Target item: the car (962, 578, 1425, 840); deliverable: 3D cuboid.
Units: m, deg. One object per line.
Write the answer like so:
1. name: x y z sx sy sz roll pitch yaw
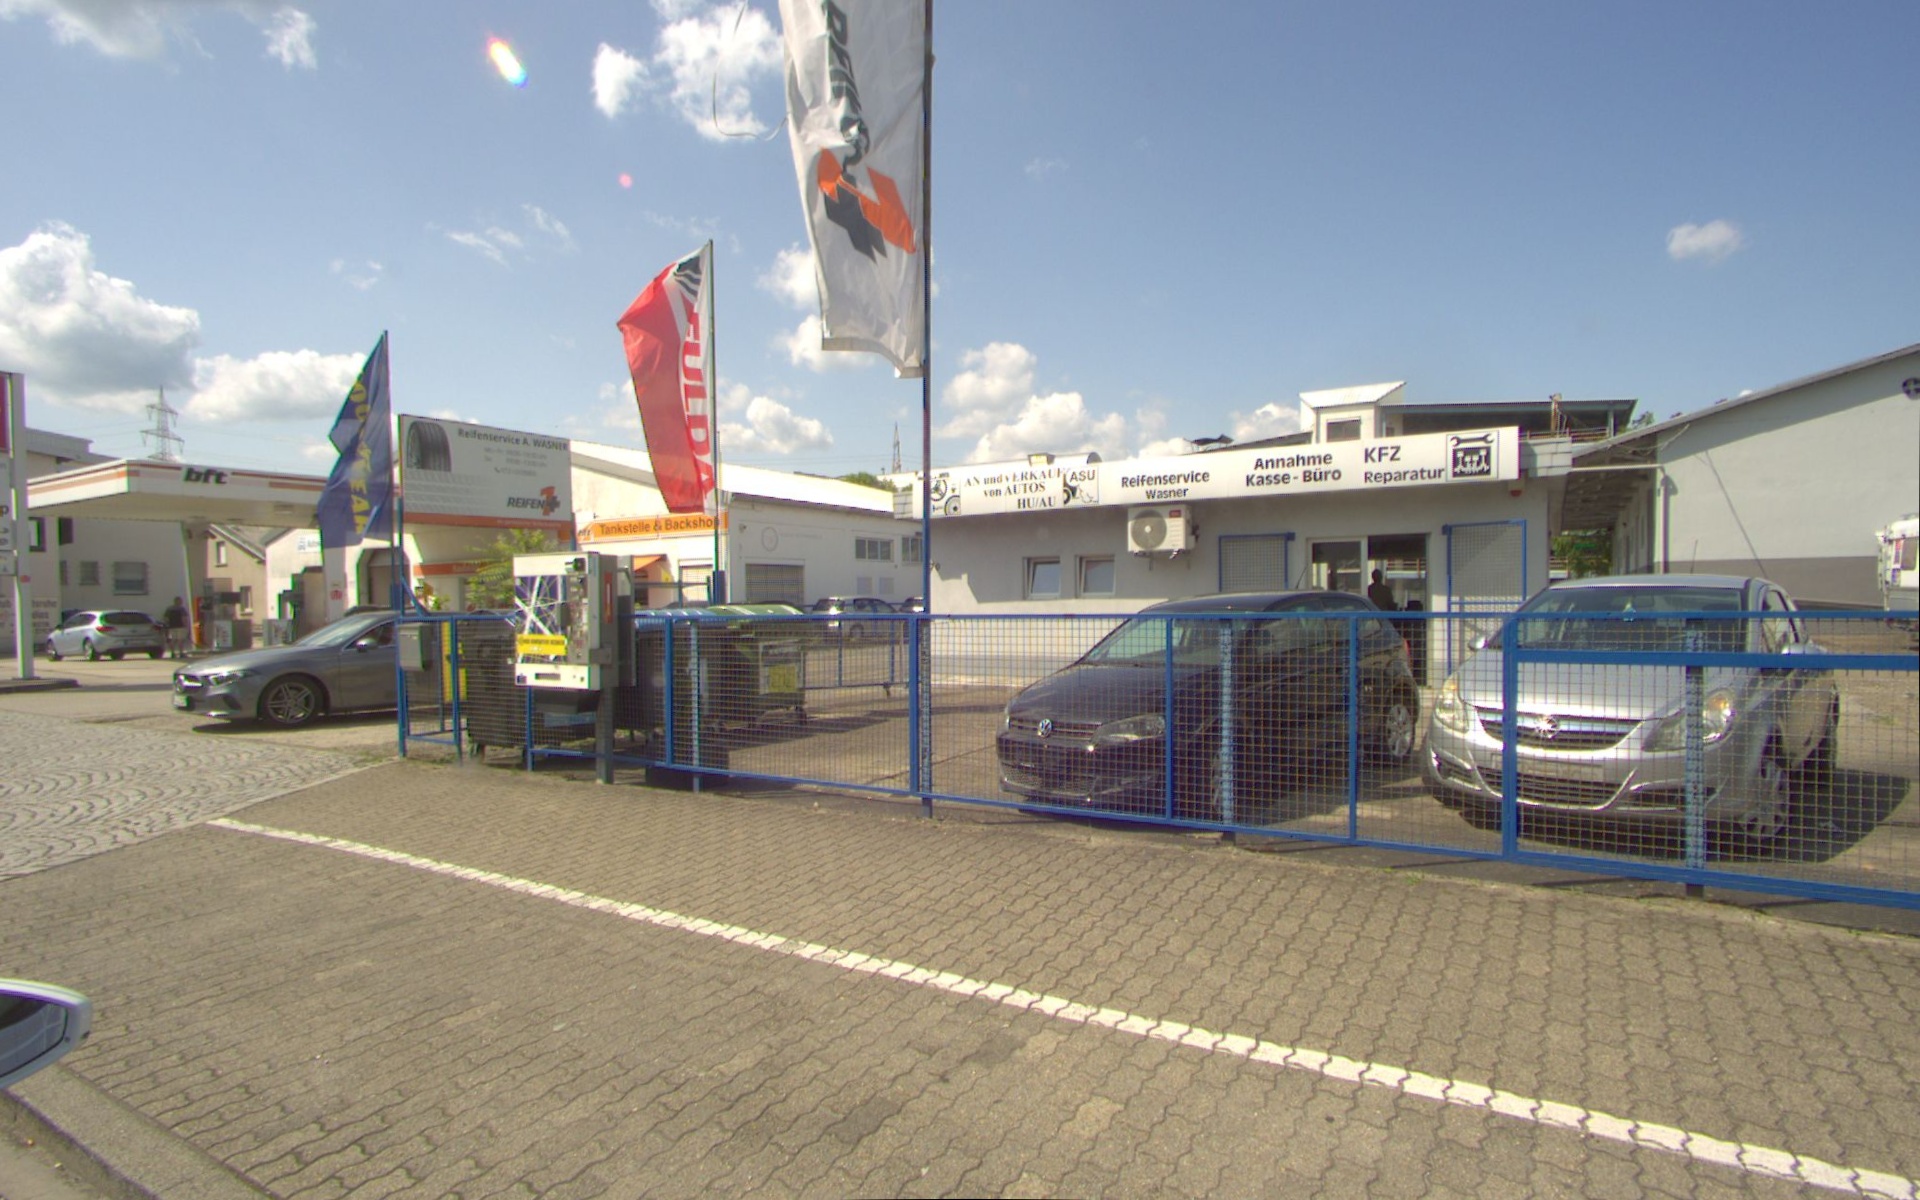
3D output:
1. car: 1.897 0.602 7.478 3.655 1.472 1.625 -1 0 -43

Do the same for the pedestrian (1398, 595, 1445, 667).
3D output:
1. pedestrian: 8.039 0.533 17.440 0.654 1.225 0.563 0 1 34

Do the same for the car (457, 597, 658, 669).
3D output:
1. car: -9.172 0.687 23.164 1.564 1.482 4.187 0 0 33

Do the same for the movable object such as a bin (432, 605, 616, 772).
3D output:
1. movable object such as a bin: -4.166 0.786 9.608 1.225 1.455 1.106 0 1 31

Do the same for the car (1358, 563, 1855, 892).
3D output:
1. car: 4.265 0.562 6.381 3.729 1.472 1.757 -1 0 -42

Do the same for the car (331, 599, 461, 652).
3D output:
1. car: -17.317 0.745 30.724 3.777 1.523 1.803 0 0 31

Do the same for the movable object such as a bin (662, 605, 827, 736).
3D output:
1. movable object such as a bin: -2.540 0.783 11.903 1.318 1.414 1.400 0 1 31

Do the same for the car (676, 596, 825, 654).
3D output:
1. car: -5.725 0.640 27.820 1.564 1.482 4.187 0 0 33

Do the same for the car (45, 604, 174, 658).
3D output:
1. car: -25.744 0.898 30.307 3.776 1.523 1.803 0 0 30

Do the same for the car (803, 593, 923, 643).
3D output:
1. car: -3.022 0.526 32.051 1.564 1.482 4.187 0 0 33

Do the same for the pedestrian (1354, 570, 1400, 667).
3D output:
1. pedestrian: 7.345 0.320 17.647 0.654 1.671 0.563 0 1 34

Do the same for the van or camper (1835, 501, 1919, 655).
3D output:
1. van or camper: 21.008 -0.452 19.530 5.571 3.005 2.264 0 1 31

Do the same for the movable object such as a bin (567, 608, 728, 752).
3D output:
1. movable object such as a bin: -3.334 0.802 10.739 1.225 1.415 1.106 0 1 31

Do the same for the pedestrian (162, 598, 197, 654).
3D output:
1. pedestrian: -23.783 0.798 30.517 0.698 1.679 0.546 -1 1 -22

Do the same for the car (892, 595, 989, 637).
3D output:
1. car: -0.647 0.532 35.737 1.564 1.385 3.860 0 0 33

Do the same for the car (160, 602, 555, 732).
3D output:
1. car: -7.896 0.762 13.493 1.654 1.434 4.253 0 0 39
